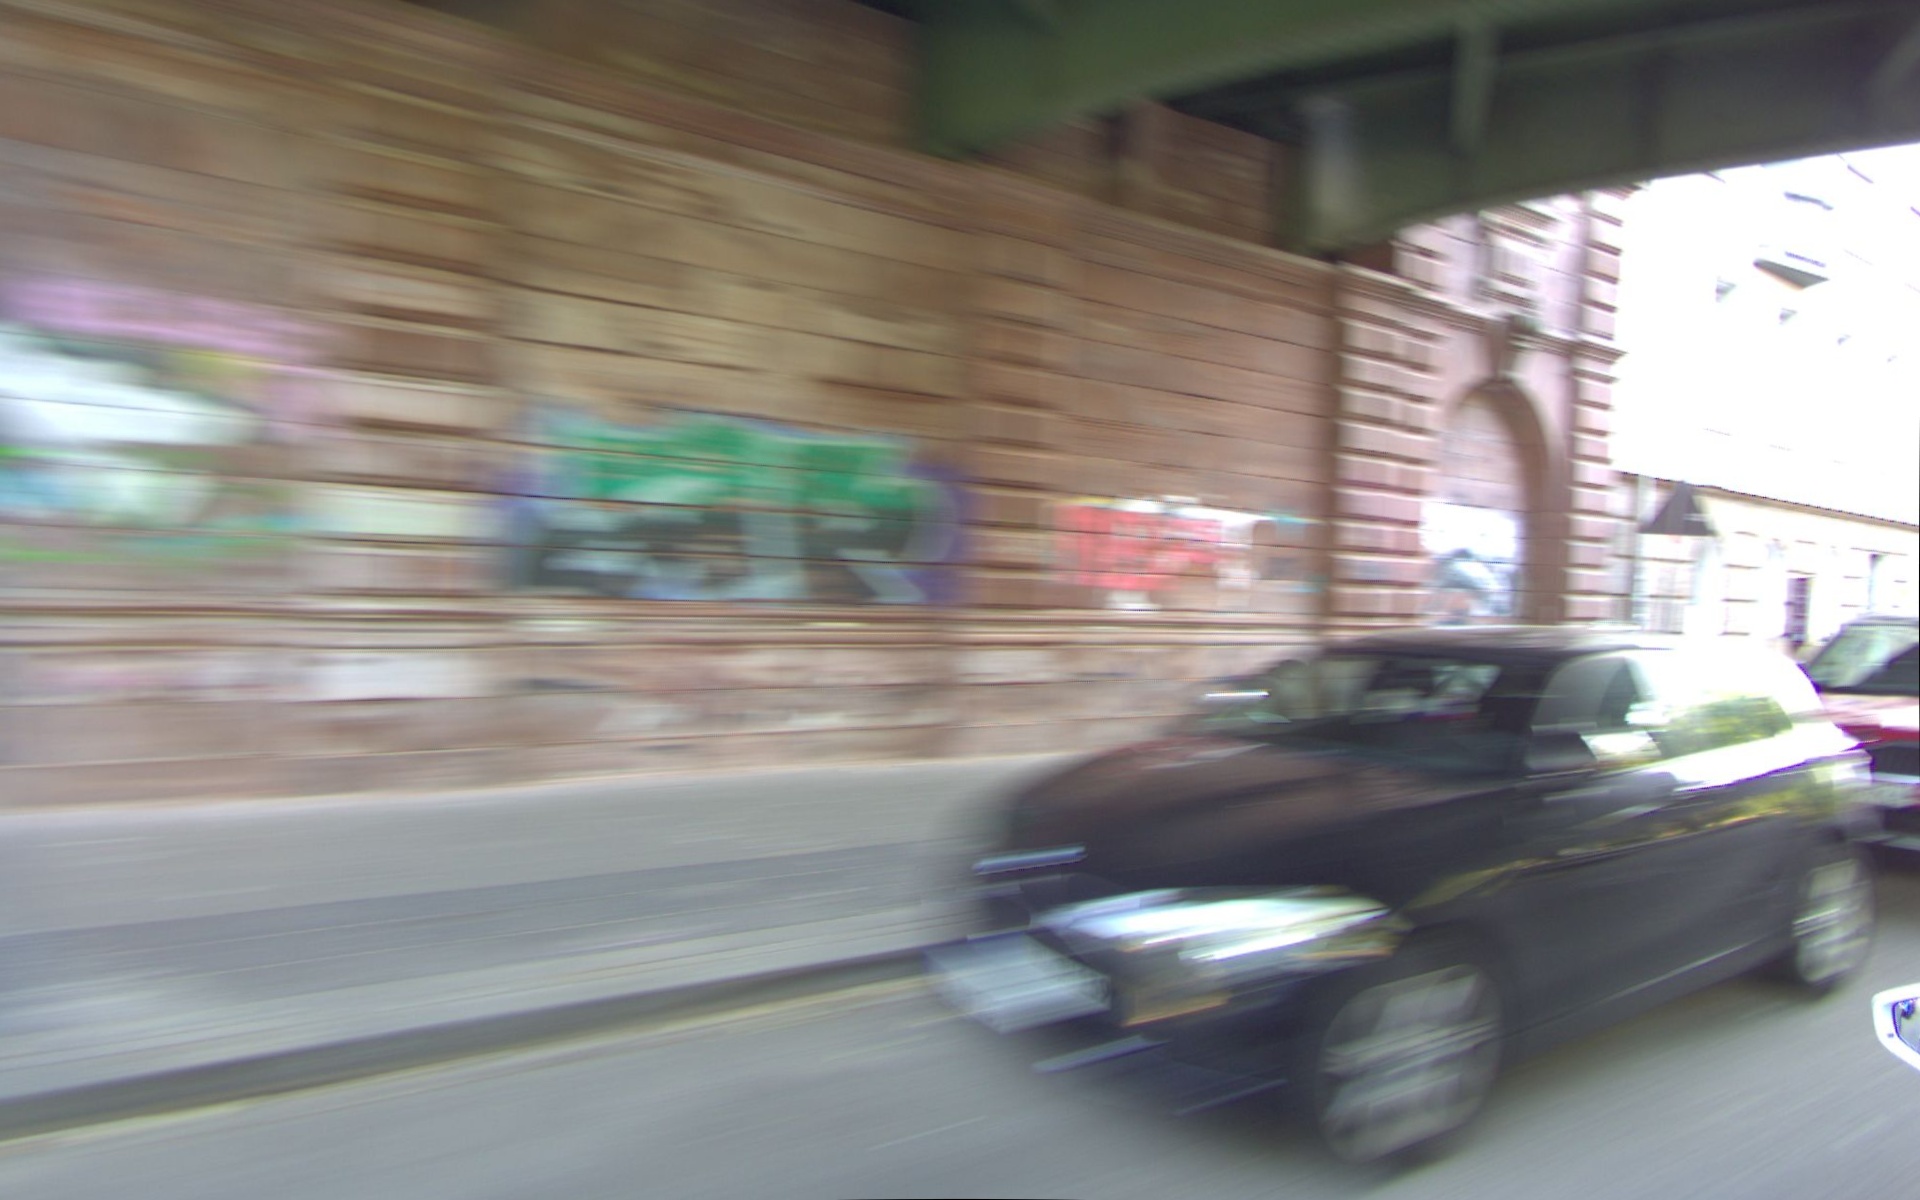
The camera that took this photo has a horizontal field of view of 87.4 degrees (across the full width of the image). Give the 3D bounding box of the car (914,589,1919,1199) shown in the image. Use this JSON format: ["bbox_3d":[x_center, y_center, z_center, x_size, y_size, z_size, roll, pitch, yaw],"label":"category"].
[{"bbox_3d":[1.975,0.776,4.013,3.953,1.483,1.709,2,0,-30],"label":"car"}]

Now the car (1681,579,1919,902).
[{"bbox_3d":[6.820,0.811,6.744,4.275,1.730,1.707,2,0,-32],"label":"car"}]
